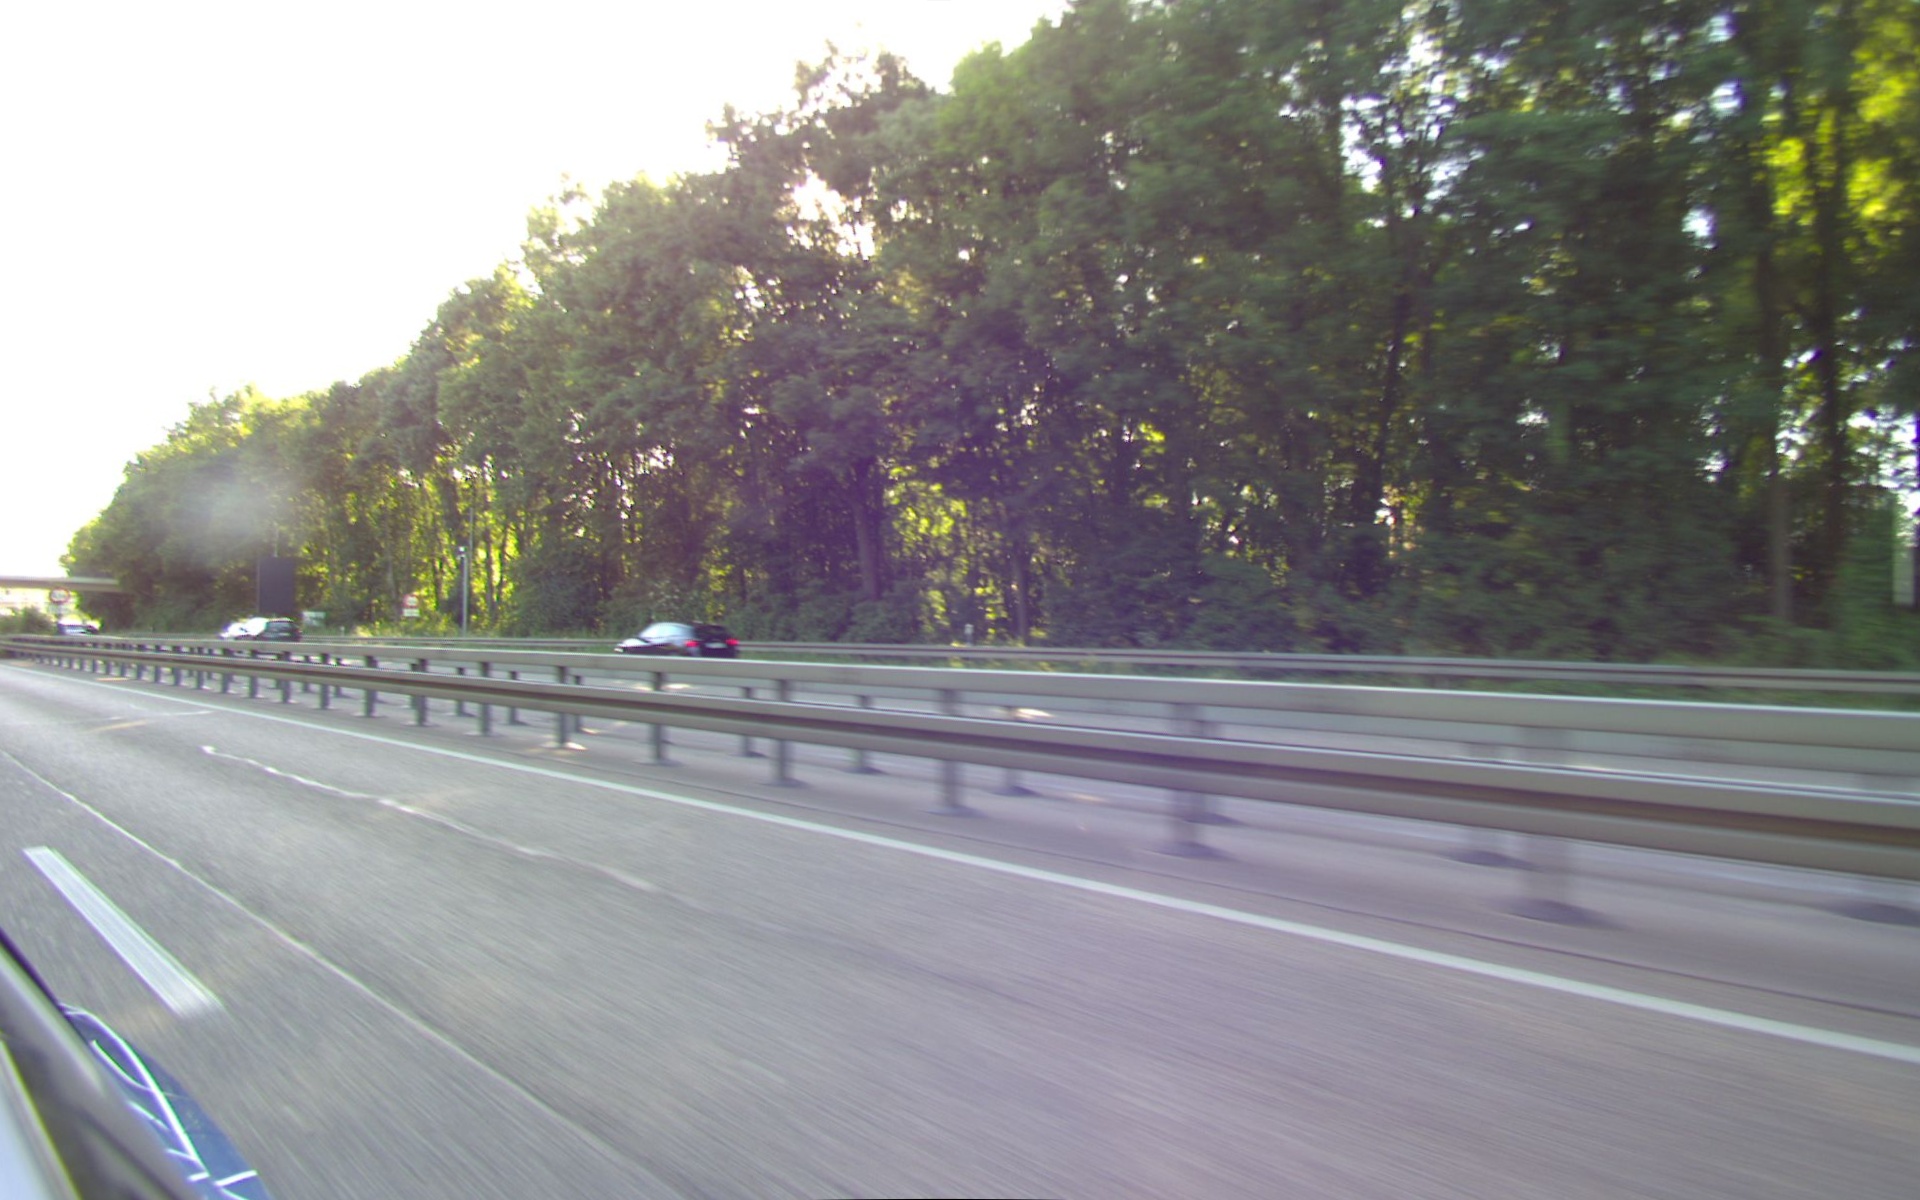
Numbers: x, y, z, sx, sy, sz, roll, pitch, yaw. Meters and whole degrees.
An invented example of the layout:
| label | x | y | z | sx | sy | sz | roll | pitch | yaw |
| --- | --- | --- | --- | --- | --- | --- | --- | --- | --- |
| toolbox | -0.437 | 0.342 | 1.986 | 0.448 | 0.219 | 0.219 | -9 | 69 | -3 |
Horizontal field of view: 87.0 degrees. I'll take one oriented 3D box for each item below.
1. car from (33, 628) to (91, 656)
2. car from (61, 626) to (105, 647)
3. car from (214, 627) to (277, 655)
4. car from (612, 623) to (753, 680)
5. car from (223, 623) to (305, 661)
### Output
| label | x | y | z | sx | sy | sz | roll | pitch | yaw |
| --- | --- | --- | --- | --- | --- | --- | --- | --- | --- |
| car | -53.668 | 2.486 | 60.461 | 4.704 | 1.572 | 1.973 | -1 | -3 | 41 |
| car | -68.169 | 2.806 | 78.633 | 4.116 | 1.551 | 1.973 | -1 | -3 | 41 |
| car | -42.947 | 2.463 | 60.814 | 4.704 | 1.612 | 1.973 | -1 | -3 | 41 |
| car | -7.923 | 1.423 | 28.760 | 3.998 | 1.497 | 1.973 | -1 | -3 | 41 |
| car | -32.840 | 1.962 | 47.716 | 4.905 | 1.712 | 1.973 | -1 | -3 | 41 |
